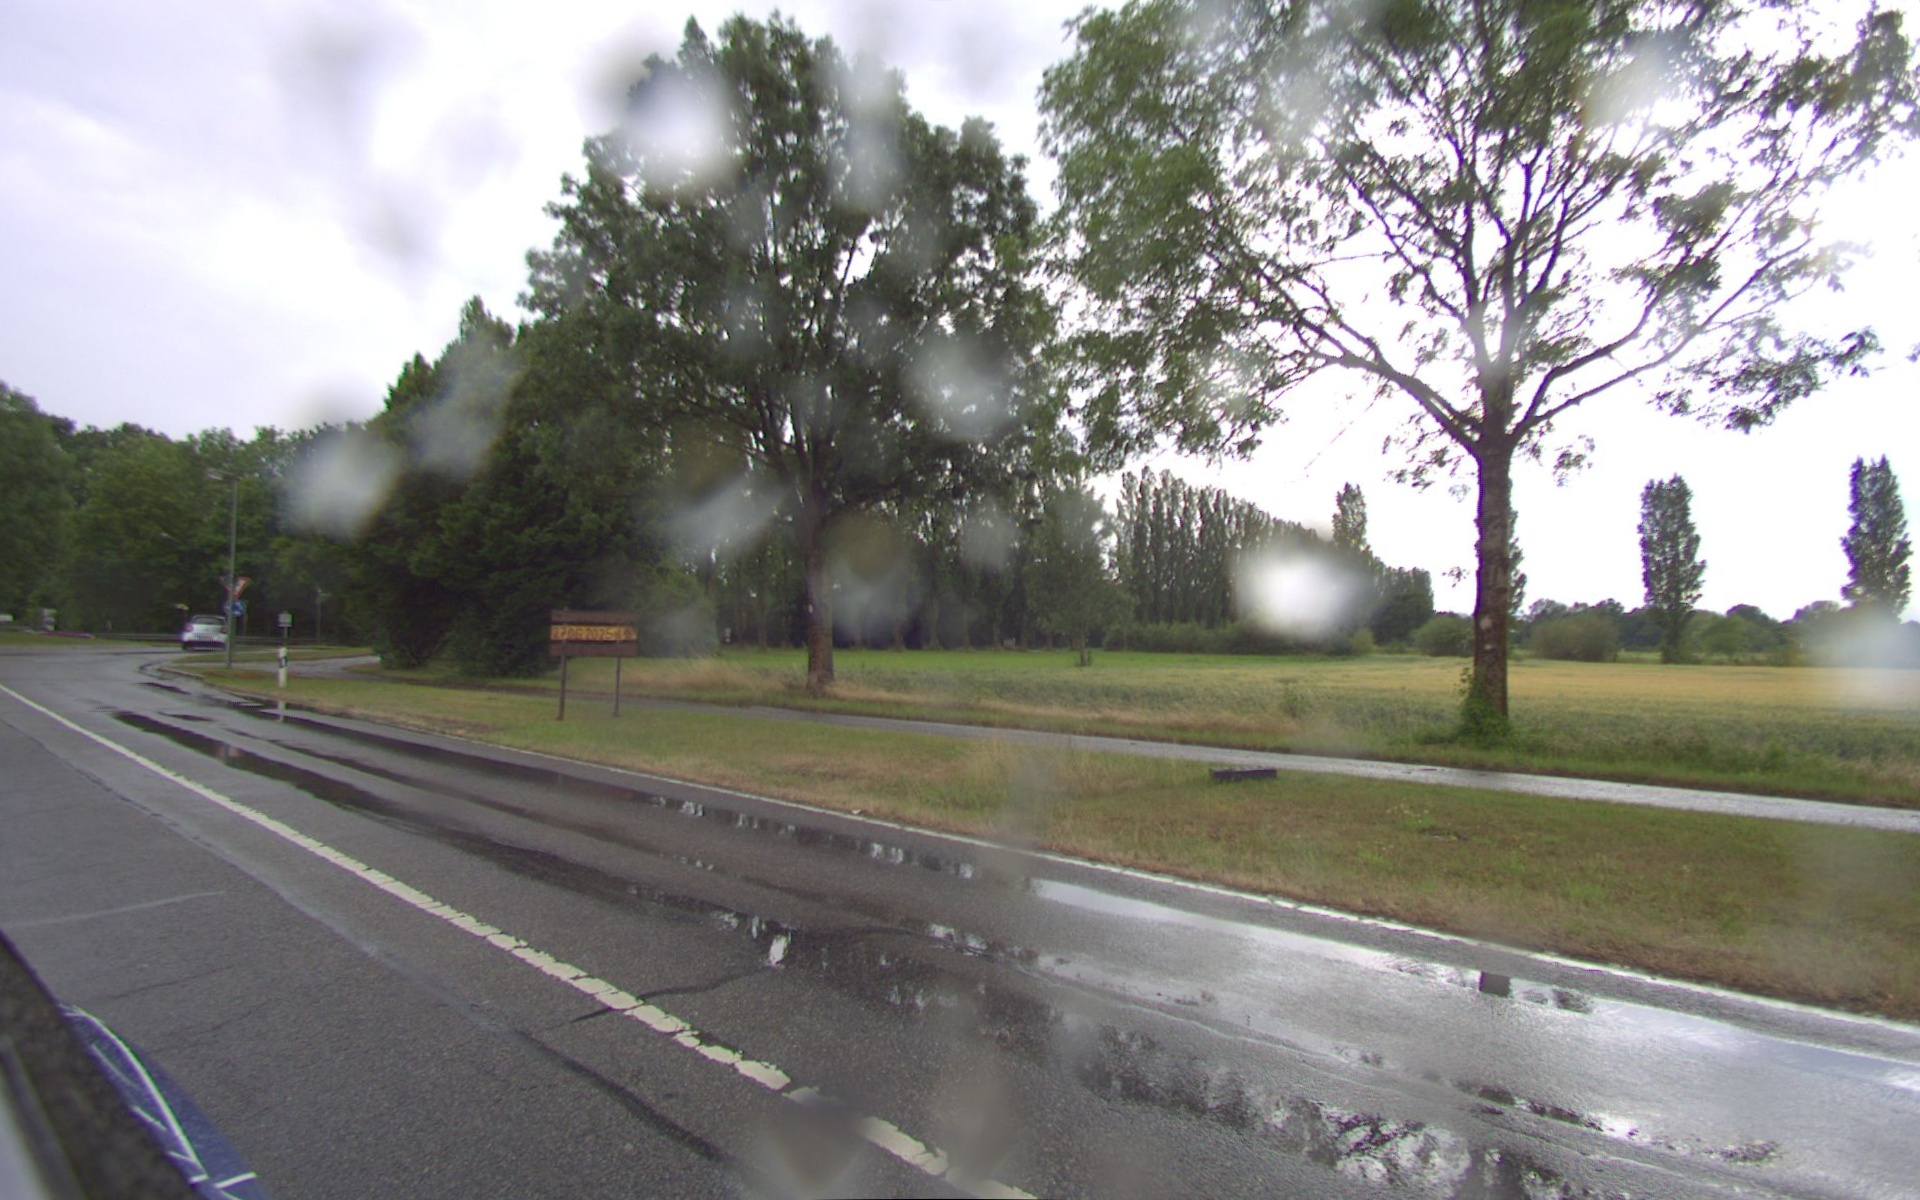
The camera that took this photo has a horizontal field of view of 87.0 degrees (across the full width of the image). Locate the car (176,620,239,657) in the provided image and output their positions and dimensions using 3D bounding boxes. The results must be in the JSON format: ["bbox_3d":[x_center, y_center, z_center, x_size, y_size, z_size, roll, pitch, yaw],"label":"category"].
[{"bbox_3d":[-33.079,1.704,44.588,1.652,1.510,3.746,3,-3,-28],"label":"car"}]
